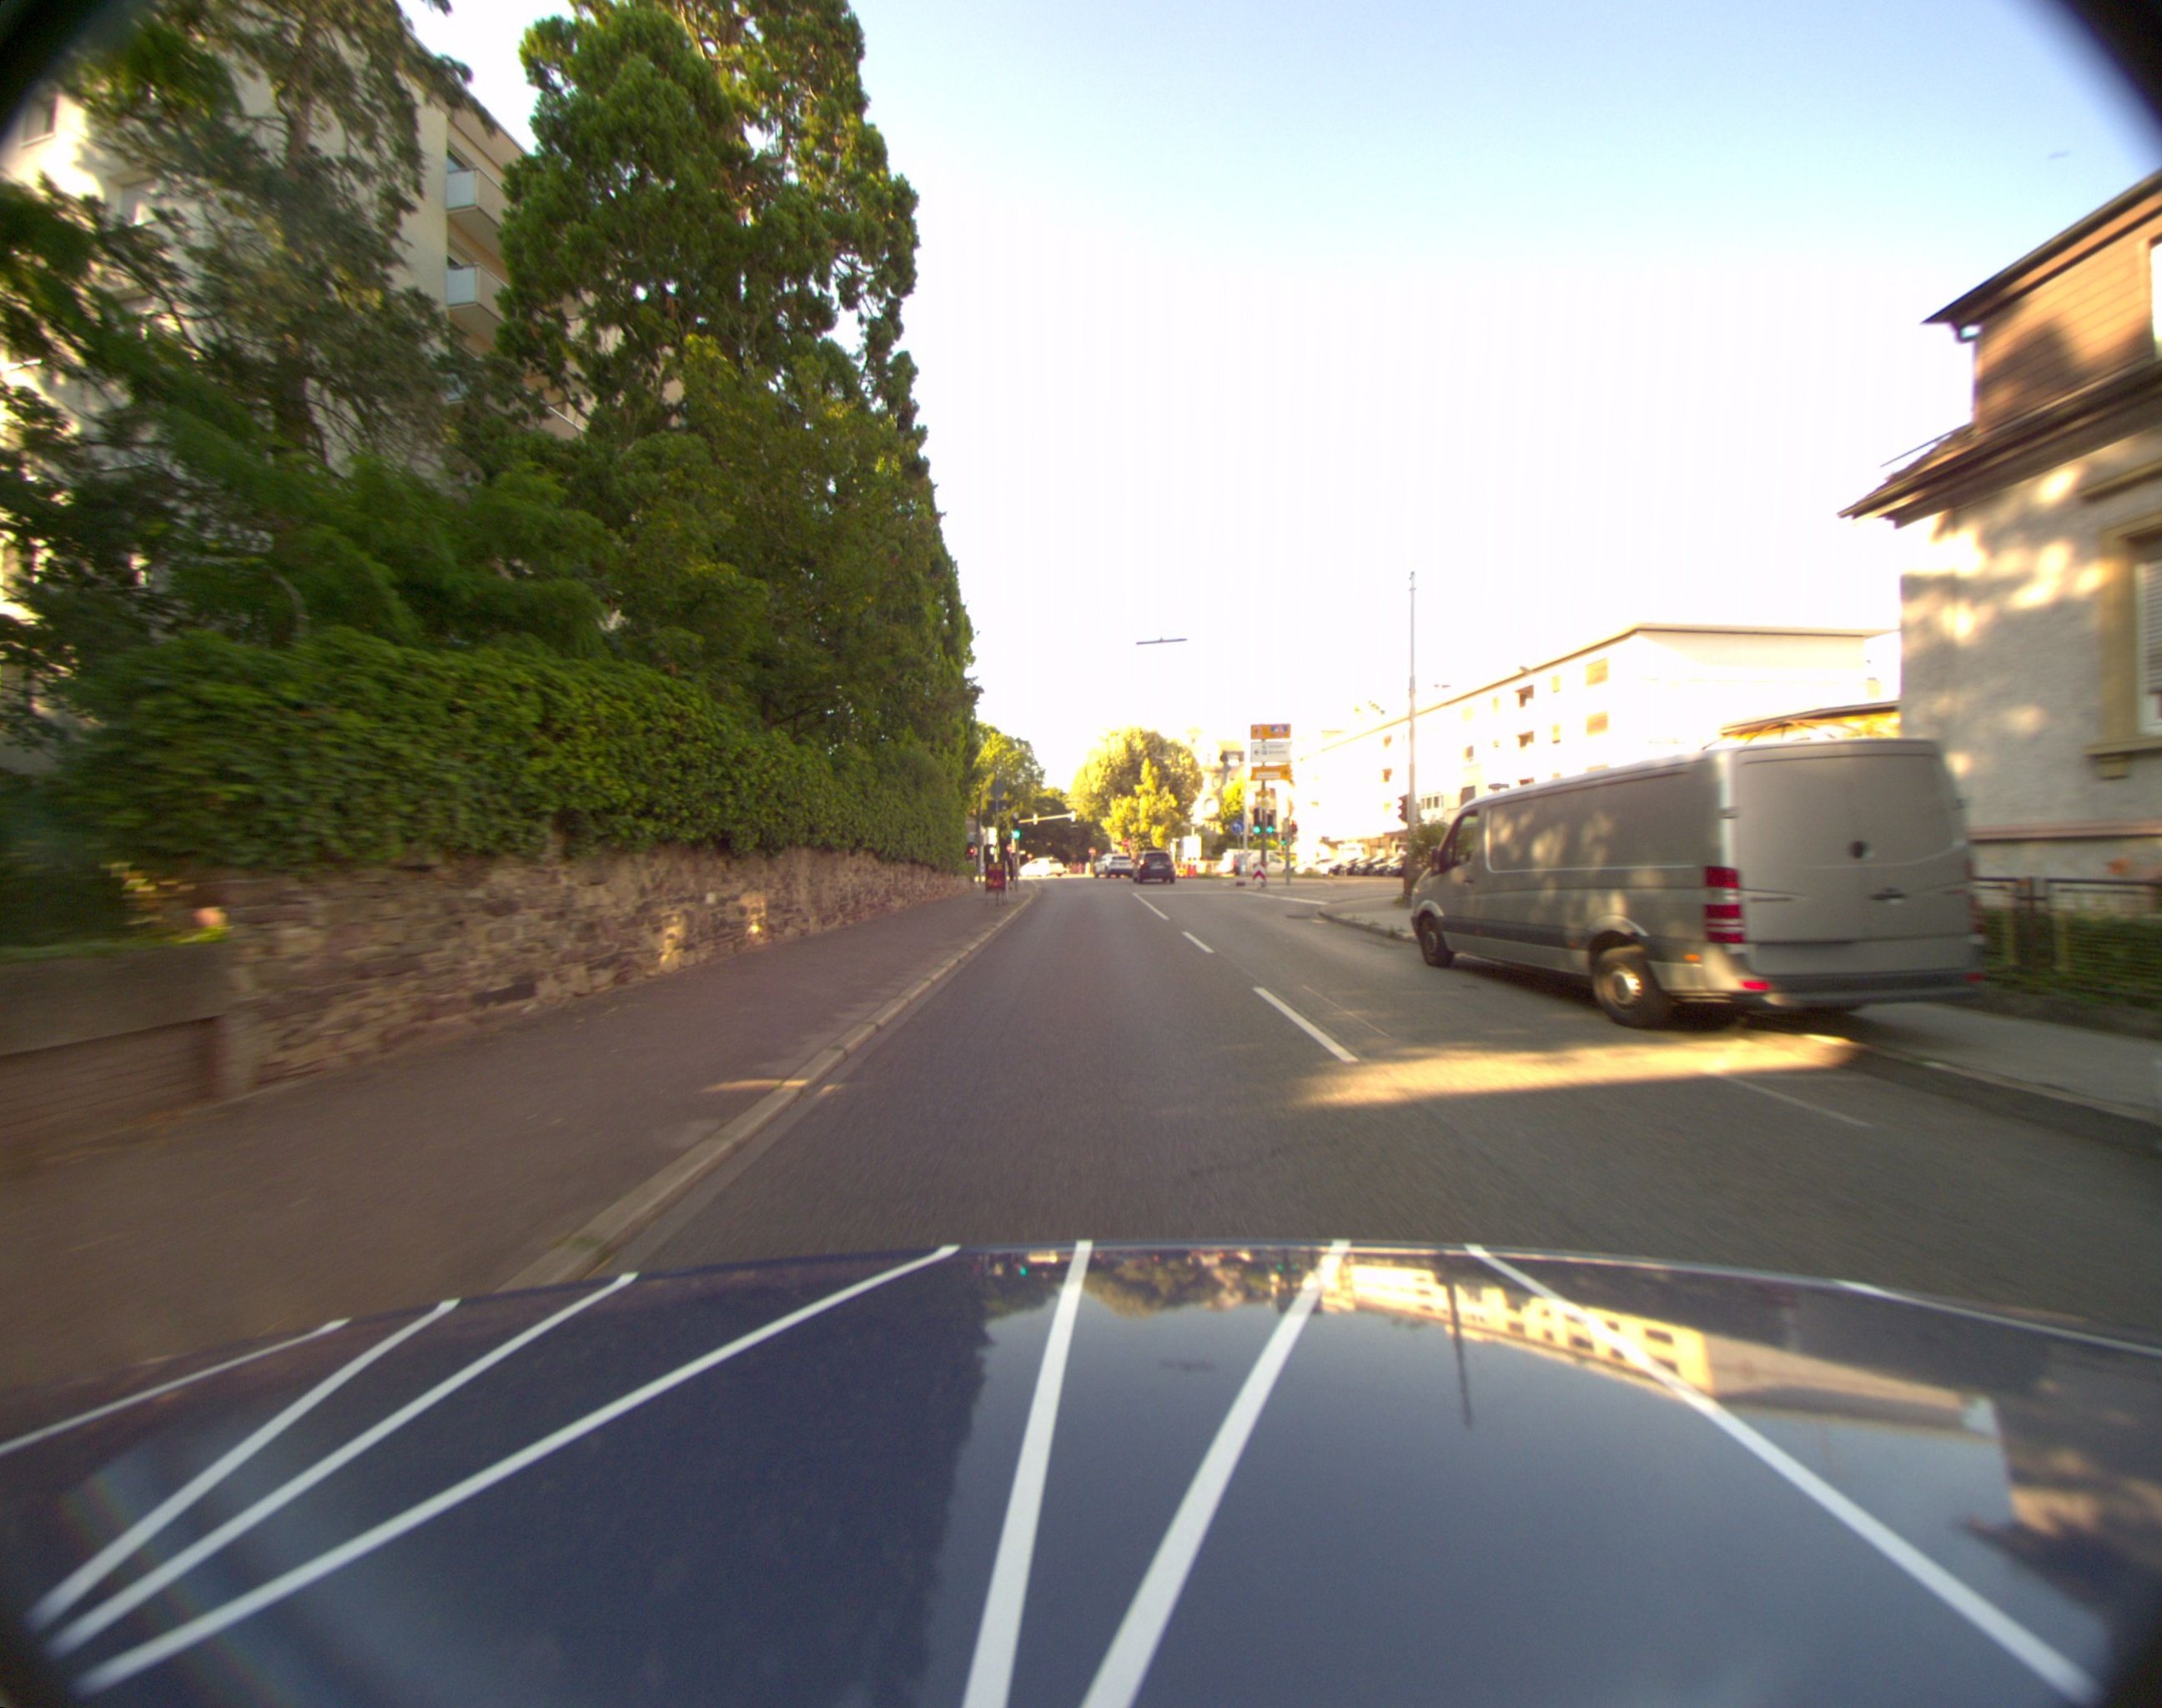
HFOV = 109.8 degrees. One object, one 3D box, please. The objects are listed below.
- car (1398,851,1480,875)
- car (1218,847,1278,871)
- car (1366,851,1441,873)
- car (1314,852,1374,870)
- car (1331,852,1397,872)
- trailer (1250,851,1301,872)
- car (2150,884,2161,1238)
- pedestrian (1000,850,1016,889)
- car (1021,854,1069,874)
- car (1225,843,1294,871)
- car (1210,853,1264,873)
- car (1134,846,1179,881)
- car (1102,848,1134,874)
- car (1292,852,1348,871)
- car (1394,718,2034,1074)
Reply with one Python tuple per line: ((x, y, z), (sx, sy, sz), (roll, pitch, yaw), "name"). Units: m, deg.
((22.465, 0.569, 47.846), (4.321, 1.390, 2.002), (-2, -1, 11), "car")
((13.459, 0.403, 61.342), (4.324, 1.841, 2.000), (-2, -1, 0), "car")
((22.528, 0.540, 53.183), (4.324, 1.390, 2.000), (-2, -1, -1), "car")
((21.863, 0.584, 63.275), (4.324, 1.390, 2.000), (-2, -1, -1), "car")
((21.769, 0.611, 58.561), (4.324, 1.390, 2.000), (-2, -1, -1), "car")
((14.067, 0.551, 55.011), (3.263, 1.388, 1.574), (-2, -1, -5), "trailer")
((5.402, 0.850, 1.315), (1.707, 1.494, 3.823), (-2, 0, 0), "car")
((-3.155, 0.672, 32.789), (0.604, 1.683, 0.612), (0, 0, 0), "pedestrian")
((-2.925, 0.826, 61.236), (1.785, 1.471, 4.086), (-1, -1, -38), "car")
((13.695, 0.244, 58.462), (4.681, 1.953, 2.117), (-2, -1, -5), "car")
((13.100, 0.743, 63.805), (4.002, 1.470, 1.999), (-3, -1, -4), "car")
((3.833, 0.477, 39.236), (1.958, 1.639, 4.284), (-2, -1, 1), "car")
((2.462, 0.494, 51.772), (1.780, 1.639, 4.534), (-2, -1, -1), "car")
((21.199, 0.663, 67.522), (4.324, 1.501, 2.000), (-2, -1, -1), "car")
((5.692, 0.299, 8.353), (2.073, 2.446, 6.014), (-2, 0, 1), "car")
